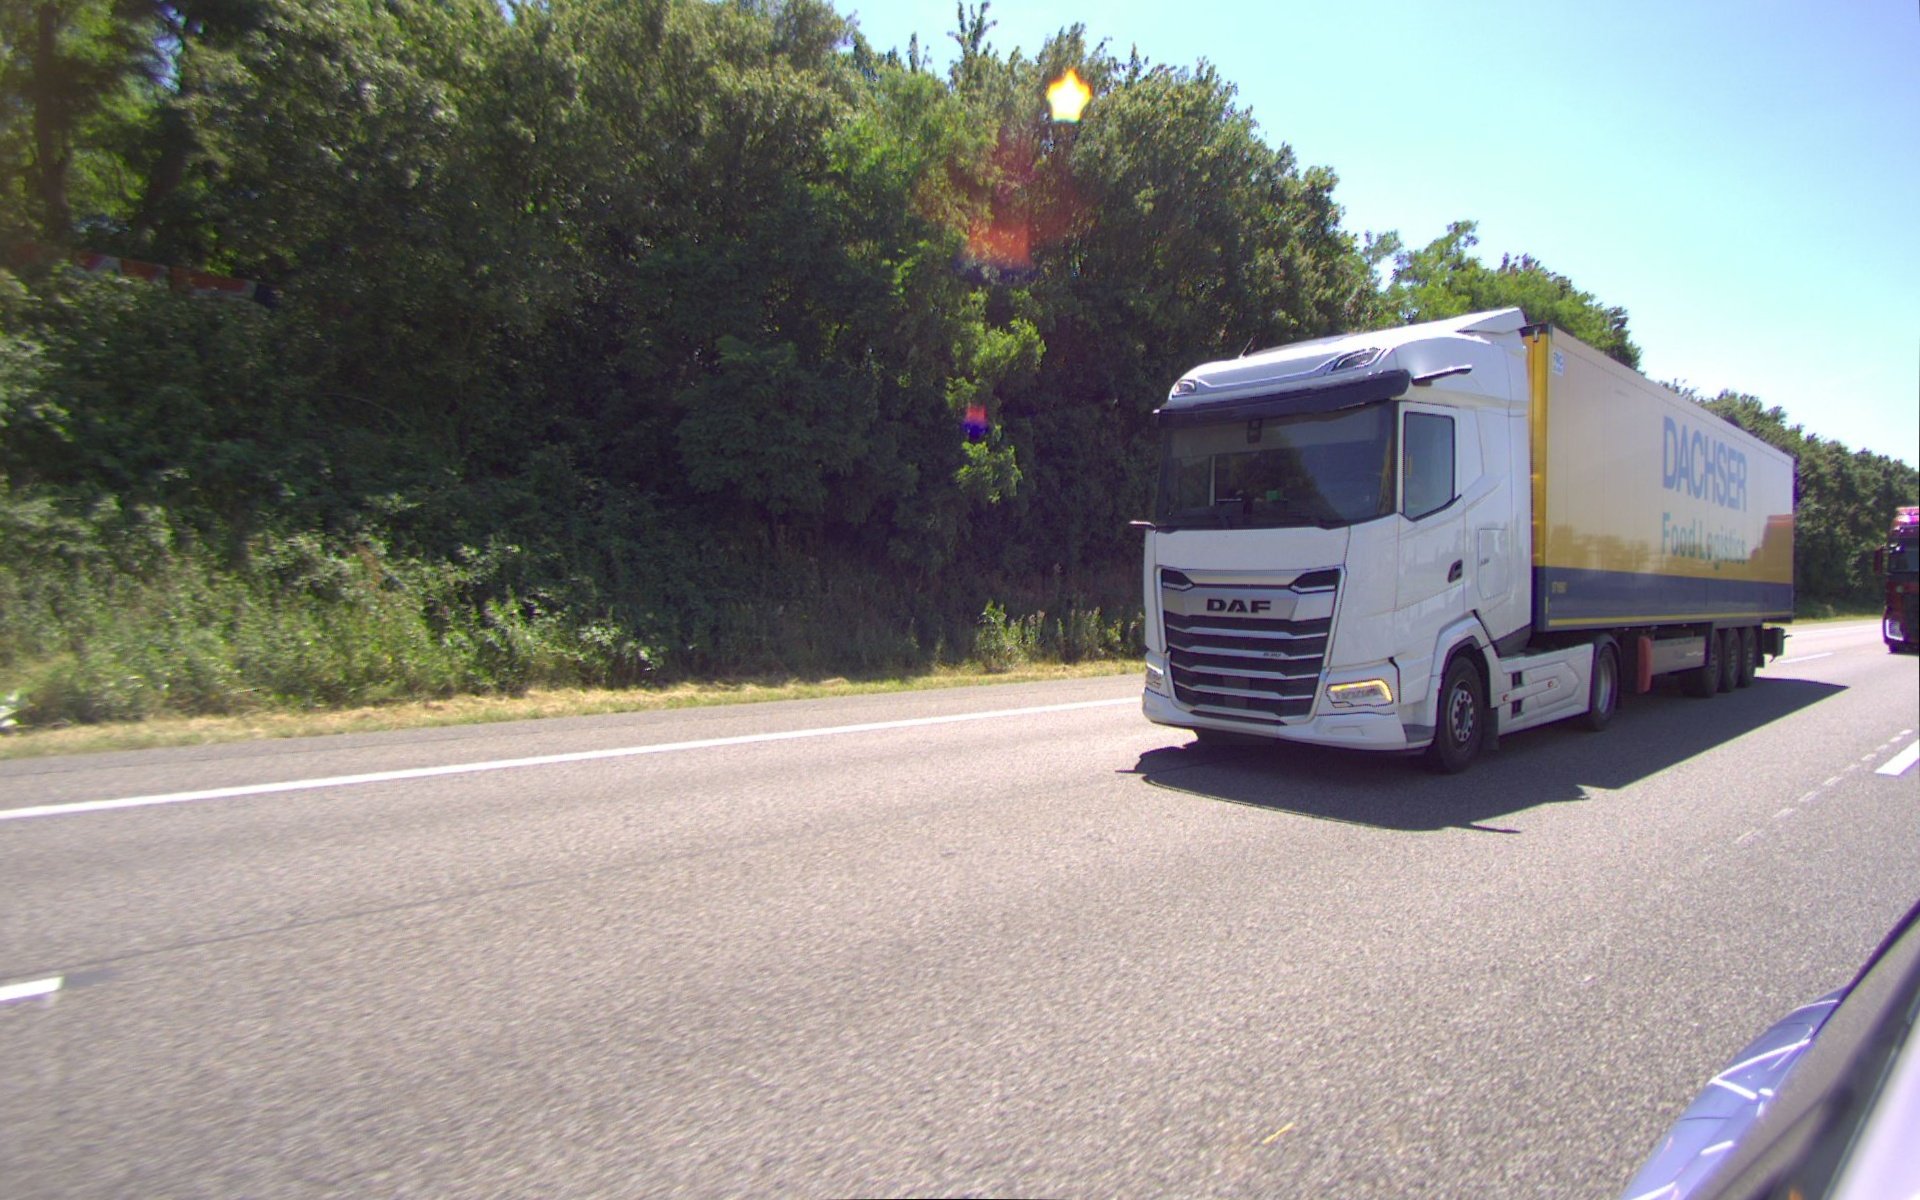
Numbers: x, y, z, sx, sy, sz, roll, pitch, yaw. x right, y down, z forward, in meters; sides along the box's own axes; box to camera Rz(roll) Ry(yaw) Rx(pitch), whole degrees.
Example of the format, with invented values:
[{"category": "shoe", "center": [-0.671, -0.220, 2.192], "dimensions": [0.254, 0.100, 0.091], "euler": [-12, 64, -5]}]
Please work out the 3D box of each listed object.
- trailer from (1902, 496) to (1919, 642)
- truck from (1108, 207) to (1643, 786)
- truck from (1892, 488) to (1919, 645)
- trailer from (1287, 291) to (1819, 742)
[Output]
[{"category": "trailer", "center": [32.807, -0.911, 32.414], "dimensions": [13.601, 4.121, 2.881], "euler": [0, 1, -43]}, {"category": "truck", "center": [4.446, -0.771, 10.202], "dimensions": [5.944, 4.121, 2.682], "euler": [0, 0, -42]}, {"category": "truck", "center": [27.836, -0.881, 27.790], "dimensions": [5.673, 4.121, 2.866], "euler": [0, 0, -43]}, {"category": "trailer", "center": [9.591, -0.819, 14.793], "dimensions": [13.597, 4.121, 2.681], "euler": [0, 1, -42]}]
